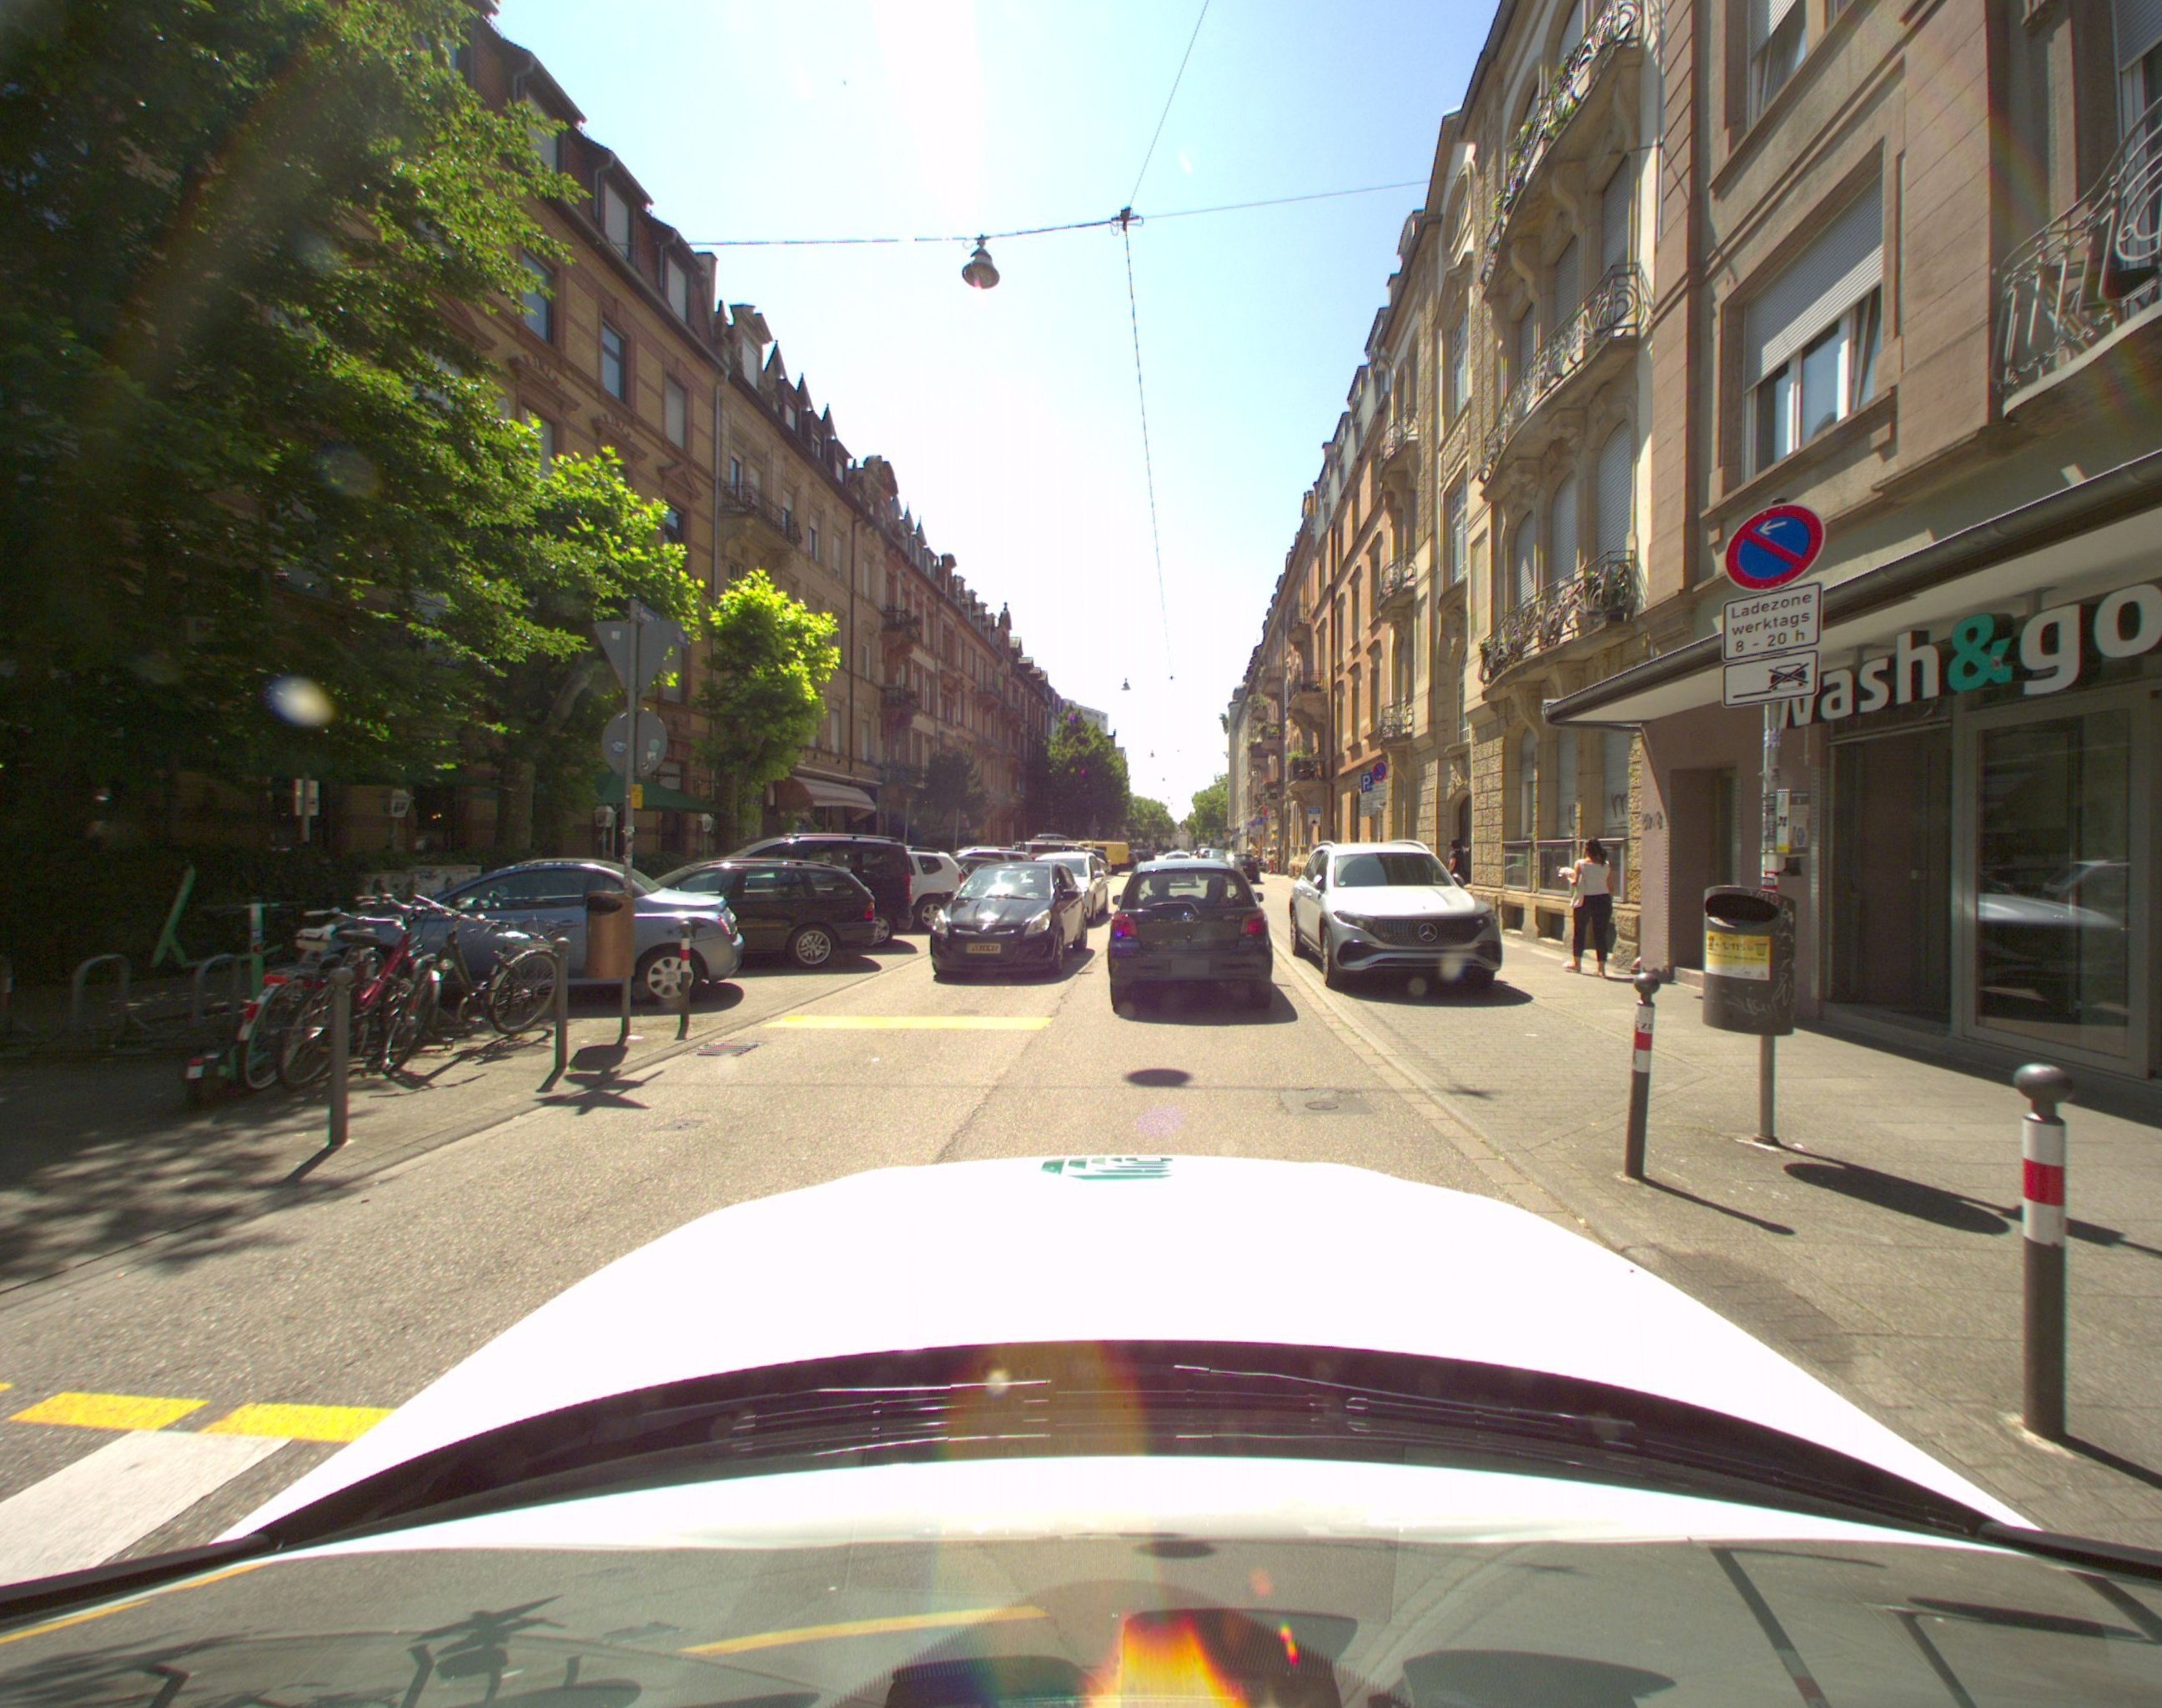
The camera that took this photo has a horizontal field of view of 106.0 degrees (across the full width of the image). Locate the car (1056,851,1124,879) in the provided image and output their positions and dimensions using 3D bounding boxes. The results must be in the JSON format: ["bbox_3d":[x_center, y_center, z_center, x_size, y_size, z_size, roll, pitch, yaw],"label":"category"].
[{"bbox_3d":[0.525,0.680,50.014,3.870,1.640,1.776,1,0,-16],"label":"car"}]

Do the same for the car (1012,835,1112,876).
[{"bbox_3d":[-0.983,0.086,42.051,4.791,1.994,2.039,1,0,-22],"label":"car"}]

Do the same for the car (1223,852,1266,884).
[{"bbox_3d":[7.730,0.630,38.764,1.745,1.429,4.009,0,0,8],"label":"car"}]

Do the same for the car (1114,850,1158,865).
[{"bbox_3d":[6.234,0.398,92.908,4.621,1.726,1.987,1,0,-20],"label":"car"}]

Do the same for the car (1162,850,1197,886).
[{"bbox_3d":[4.440,0.588,36.617,1.514,1.521,3.270,0,0,7],"label":"car"}]

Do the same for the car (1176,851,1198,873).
[{"bbox_3d":[8.073,0.609,61.790,1.513,1.592,3.272,0,0,9],"label":"car"}]

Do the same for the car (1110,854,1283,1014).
[{"bbox_3d":[1.182,0.761,9.361,1.607,1.485,3.243,-1,0,3],"label":"car"}]

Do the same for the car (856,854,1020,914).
[{"bbox_3d":[-3.812,0.758,21.814,3.935,1.470,1.848,1,0,-31],"label":"car"}]

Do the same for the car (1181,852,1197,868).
[{"bbox_3d":[11.198,0.561,84.506,1.514,1.592,3.270,0,0,6],"label":"car"}]

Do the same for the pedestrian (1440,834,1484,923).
[{"bbox_3d":[7.736,0.477,16.553,0.510,1.750,0.749,-2,0,0],"label":"pedestrian"}]

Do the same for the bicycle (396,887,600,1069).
[{"bbox_3d":[-4.534,0.898,6.484,0.490,1.173,1.682,2,0,-5],"label":"bicycle"}]

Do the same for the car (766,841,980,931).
[{"bbox_3d":[-4.200,0.642,16.688,3.994,1.658,1.751,2,0,-16],"label":"car"}]

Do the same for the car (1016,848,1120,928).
[{"bbox_3d":[-0.180,0.727,19.522,1.745,1.645,4.387,-2,0,8],"label":"car"}]

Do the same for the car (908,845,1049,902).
[{"bbox_3d":[-3.154,0.563,25.221,3.937,1.619,1.847,1,0,-33],"label":"car"}]

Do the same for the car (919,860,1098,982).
[{"bbox_3d":[-0.865,0.827,11.977,1.745,1.444,4.009,0,0,8],"label":"car"}]

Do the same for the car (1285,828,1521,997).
[{"bbox_3d":[3.863,0.608,10.629,1.861,1.713,4.514,-1,0,8],"label":"car"}]

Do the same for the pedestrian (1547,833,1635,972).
[{"bbox_3d":[6.234,0.563,9.989,0.637,1.623,0.806,0,0,8],"label":"pedestrian"}]

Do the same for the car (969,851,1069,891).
[{"bbox_3d":[-2.615,0.703,34.266,3.918,1.619,1.856,1,0,-16],"label":"car"}]

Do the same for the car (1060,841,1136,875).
[{"bbox_3d":[1.113,0.271,53.889,4.572,2.187,1.987,1,0,-20],"label":"car"}]

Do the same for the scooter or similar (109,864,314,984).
[{"bbox_3d":[-9.055,0.680,8.561,0.276,1.120,1.476,3,1,16],"label":"scooter or similar"}]

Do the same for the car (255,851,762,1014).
[{"bbox_3d":[-5.574,0.737,8.675,4.002,1.375,1.986,2,0,-22],"label":"car"}]

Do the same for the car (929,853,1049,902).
[{"bbox_3d":[-3.241,0.810,28.374,3.918,1.619,1.856,1,0,-16],"label":"car"}]

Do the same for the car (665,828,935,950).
[{"bbox_3d":[-4.660,0.559,13.696,4.005,1.804,1.755,2,0,-24],"label":"car"}]

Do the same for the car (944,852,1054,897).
[{"bbox_3d":[-3.143,0.763,31.003,3.918,1.619,1.856,1,0,-16],"label":"car"}]

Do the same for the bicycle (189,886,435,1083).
[{"bbox_3d":[-5.483,0.854,5.937,0.337,1.156,1.617,2,0,-5],"label":"bicycle"}]

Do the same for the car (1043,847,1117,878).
[{"bbox_3d":[-0.082,0.488,47.173,3.918,1.708,1.856,1,0,-16],"label":"car"}]

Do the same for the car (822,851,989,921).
[{"bbox_3d":[-4.090,0.744,18.944,3.628,1.458,1.615,2,0,-17],"label":"car"}]

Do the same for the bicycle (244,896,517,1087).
[{"bbox_3d":[-5.059,0.917,6.071,0.490,1.081,1.895,2,0,-5],"label":"bicycle"}]

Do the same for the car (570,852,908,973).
[{"bbox_3d":[-4.664,0.764,11.478,4.006,1.412,1.955,2,0,-25],"label":"car"}]
